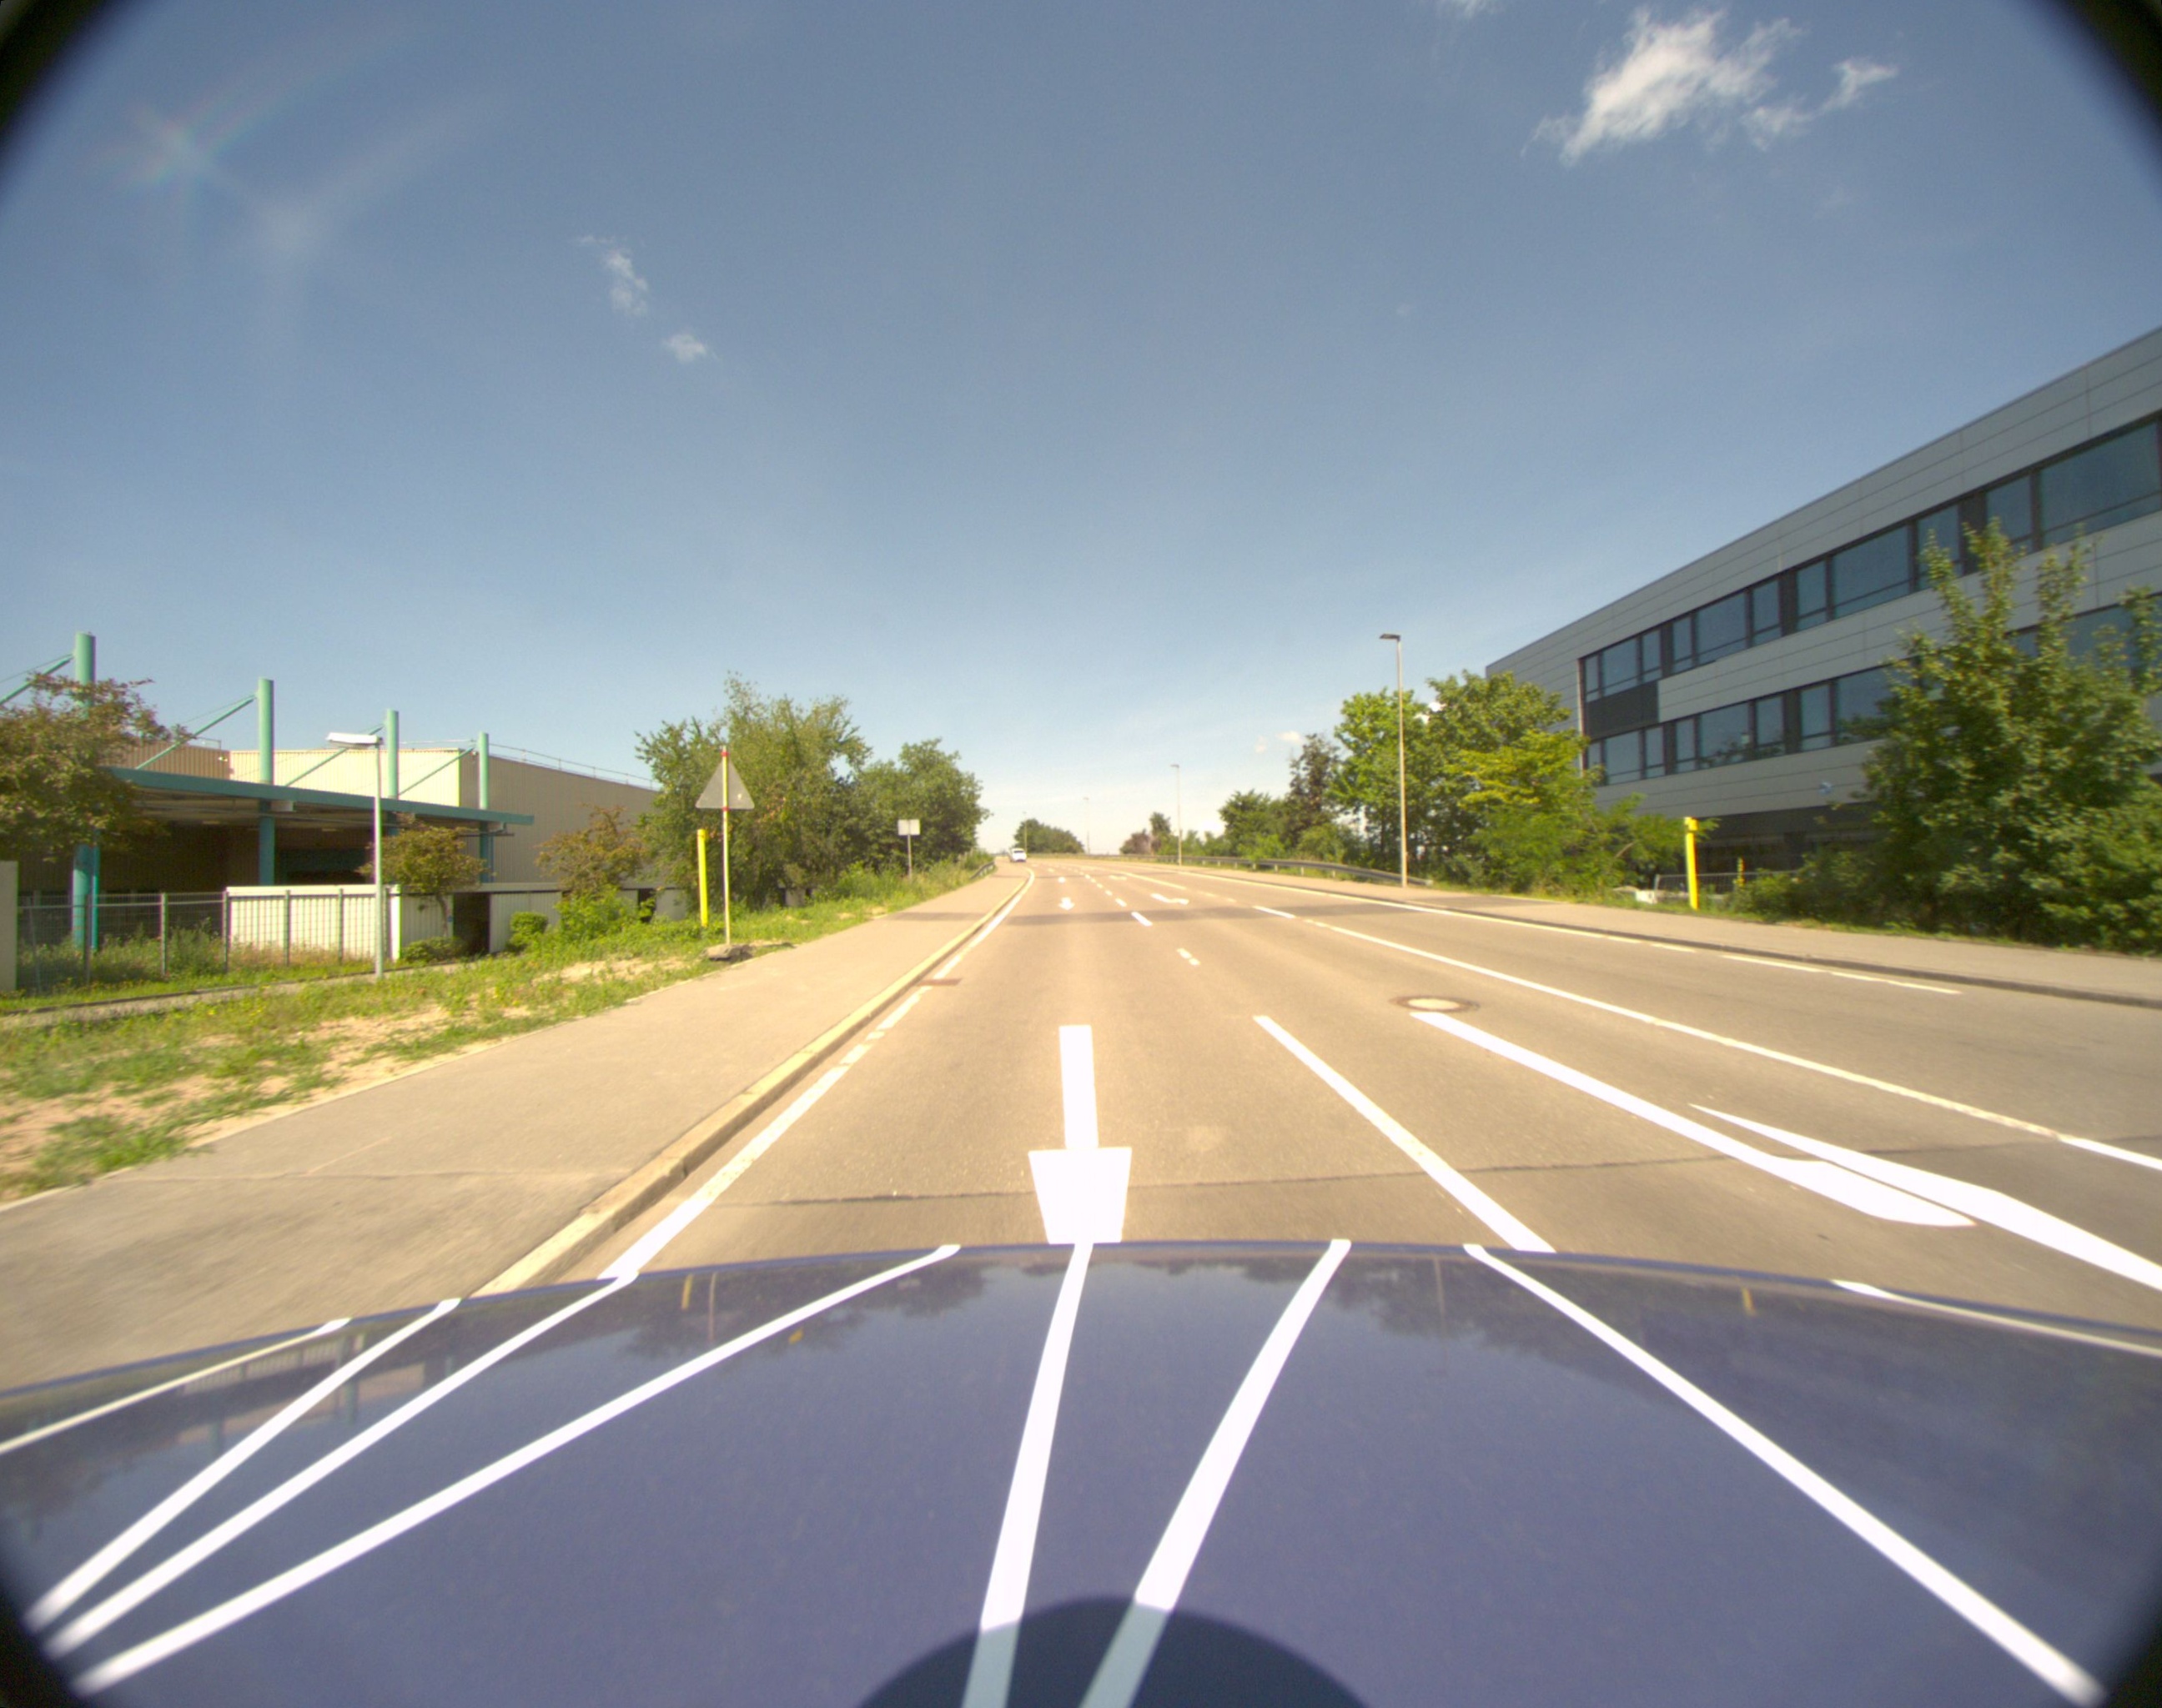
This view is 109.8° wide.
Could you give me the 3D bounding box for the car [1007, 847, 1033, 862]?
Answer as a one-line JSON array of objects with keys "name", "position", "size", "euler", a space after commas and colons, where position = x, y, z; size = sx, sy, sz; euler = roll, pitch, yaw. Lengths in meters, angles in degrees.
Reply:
[{"name": "car", "position": [-8.296, 0.088, 103.523], "size": [2.096, 1.751, 4.274], "euler": [-4, 0, -25]}]
